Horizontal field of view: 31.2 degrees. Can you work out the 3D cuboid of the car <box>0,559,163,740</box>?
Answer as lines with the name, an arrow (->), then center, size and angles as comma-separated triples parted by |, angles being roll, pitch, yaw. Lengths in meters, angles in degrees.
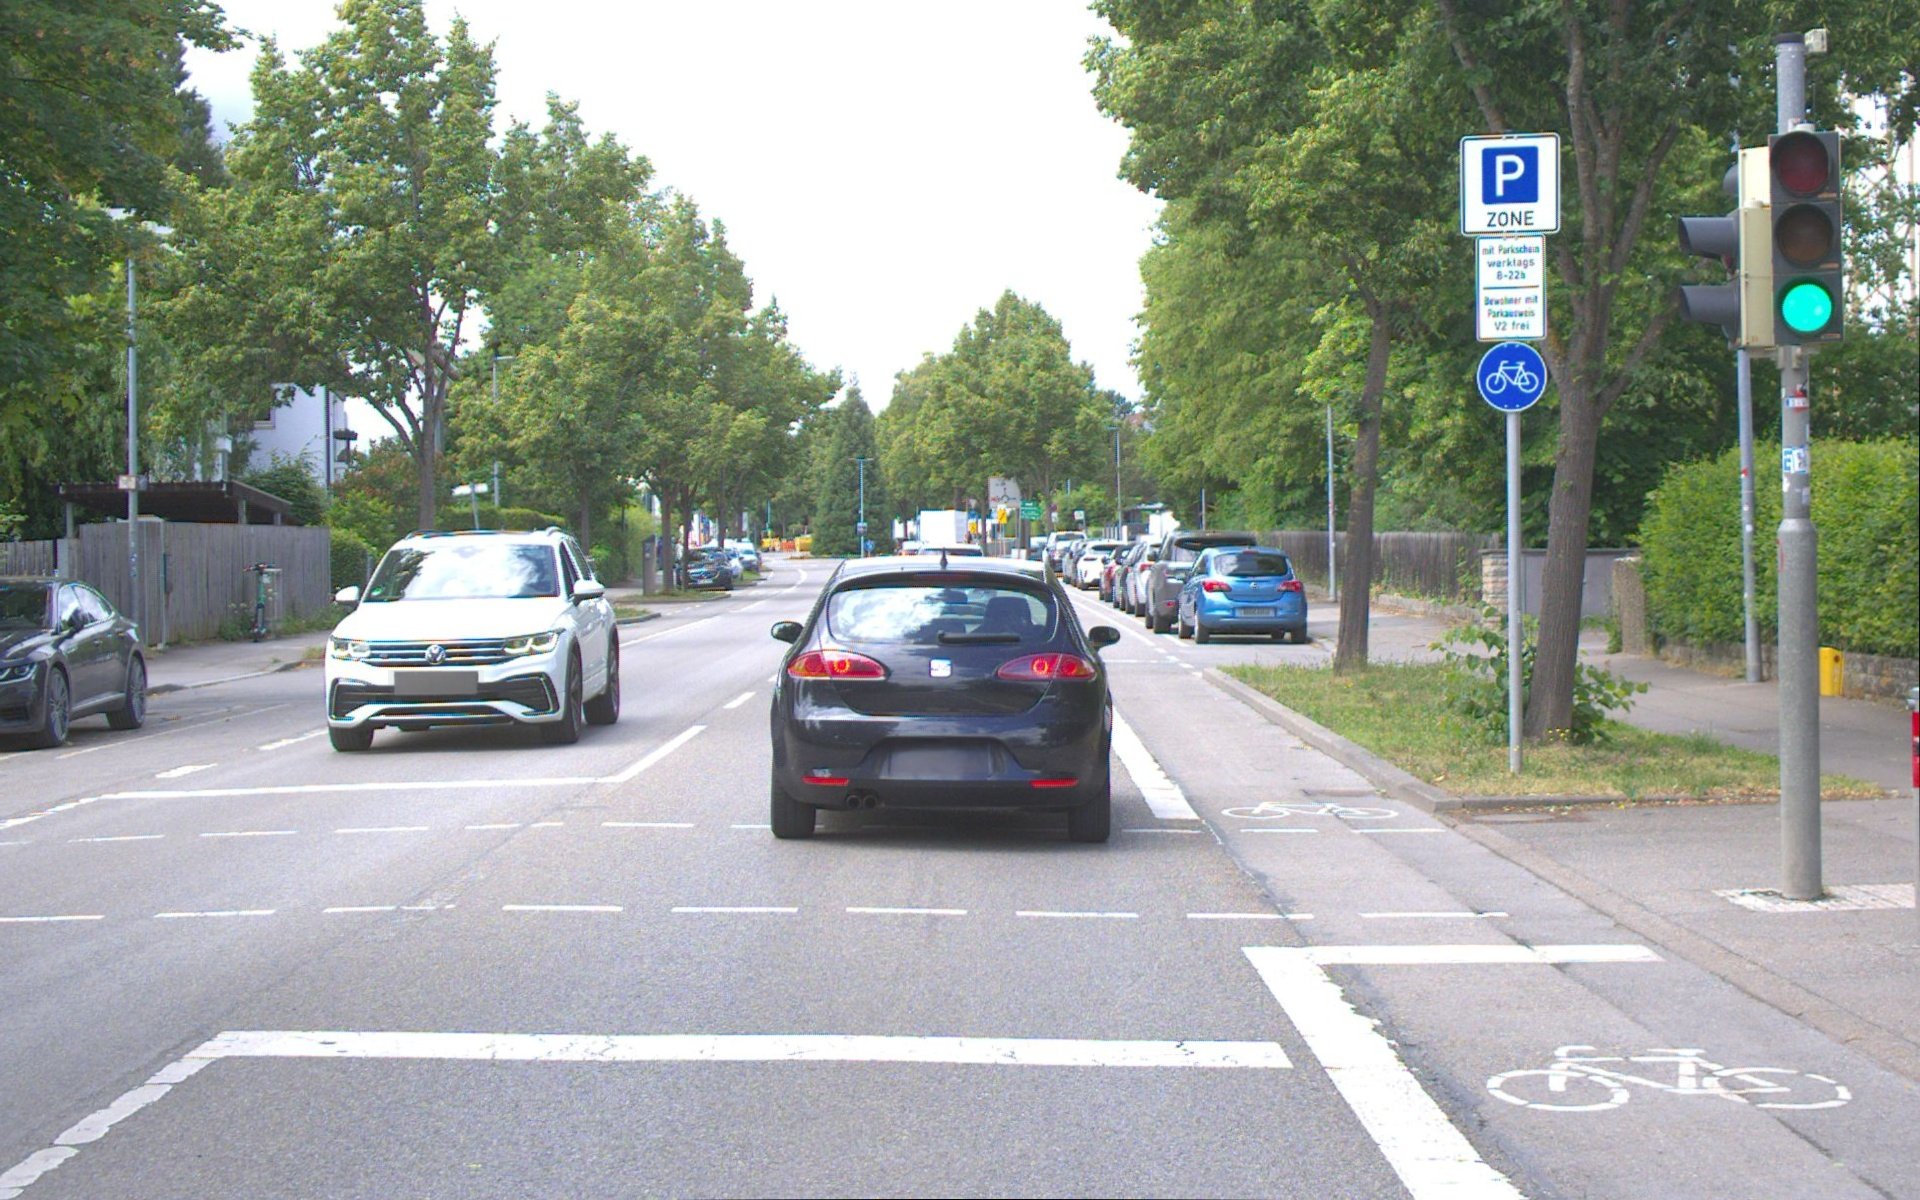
car -> -8.263, 0.386, 29.531 | 1.718, 1.390, 4.801 | -2, 1, 0

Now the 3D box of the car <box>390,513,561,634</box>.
car -> -8.229, -0.488, 58.923 | 2.100, 1.890, 5.784 | -2, 1, 0

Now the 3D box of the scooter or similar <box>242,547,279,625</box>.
scooter or similar -> -11.236, -0.229, 55.252 | 0.387, 1.225, 1.499 | 0, 1, -5

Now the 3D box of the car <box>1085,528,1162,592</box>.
car -> 4.056, -1.021, 85.890 | 1.688, 1.559, 4.214 | 0, 1, -1

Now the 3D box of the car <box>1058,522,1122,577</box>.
car -> 3.811, -1.500, 101.592 | 1.688, 1.559, 4.214 | 0, 1, -1

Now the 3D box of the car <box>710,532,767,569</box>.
car -> -9.540, -2.137, 148.648 | 2.100, 1.501, 5.784 | -2, 1, 0

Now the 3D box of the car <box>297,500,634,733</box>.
car -> -3.803, 0.079, 27.160 | 1.875, 1.629, 4.340 | -2, 1, 2

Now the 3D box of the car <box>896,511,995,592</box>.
car -> -0.276, -0.951, 67.300 | 1.846, 1.504, 3.812 | 1, 1, 0

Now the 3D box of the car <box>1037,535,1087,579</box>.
car -> 3.718, -1.590, 125.967 | 1.688, 1.559, 4.214 | 0, 1, -1

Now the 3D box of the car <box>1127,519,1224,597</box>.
car -> 4.420, -0.883, 70.825 | 1.688, 1.559, 4.214 | 0, 1, -1

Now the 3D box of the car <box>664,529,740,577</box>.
car -> -8.667, -1.588, 115.907 | 2.100, 1.501, 5.784 | -2, 1, 0

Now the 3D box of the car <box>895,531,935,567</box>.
car -> -2.104, -2.398, 161.492 | 1.881, 1.683, 4.214 | 0, 1, -1

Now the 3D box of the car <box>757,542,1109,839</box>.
car -> -0.189, 0.409, 18.473 | 1.662, 1.396, 3.812 | 1, 1, -2

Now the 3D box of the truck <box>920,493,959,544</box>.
truck -> -1.358, -5.216, 220.557 | 2.279, 3.093, 8.511 | 2, 1, -1

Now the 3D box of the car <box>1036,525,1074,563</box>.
car -> 4.660, -2.768, 169.259 | 1.688, 1.869, 4.214 | 0, 1, -1

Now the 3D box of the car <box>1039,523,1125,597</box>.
car -> 2.633, -0.897, 75.145 | 1.688, 1.559, 4.214 | 0, 1, -1

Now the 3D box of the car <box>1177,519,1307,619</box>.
car -> 4.319, -0.491, 53.028 | 1.688, 1.485, 3.355 | 0, 1, -1

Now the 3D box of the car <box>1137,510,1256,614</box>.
car -> 3.972, -0.661, 58.331 | 1.688, 1.705, 4.214 | 0, 1, -1
